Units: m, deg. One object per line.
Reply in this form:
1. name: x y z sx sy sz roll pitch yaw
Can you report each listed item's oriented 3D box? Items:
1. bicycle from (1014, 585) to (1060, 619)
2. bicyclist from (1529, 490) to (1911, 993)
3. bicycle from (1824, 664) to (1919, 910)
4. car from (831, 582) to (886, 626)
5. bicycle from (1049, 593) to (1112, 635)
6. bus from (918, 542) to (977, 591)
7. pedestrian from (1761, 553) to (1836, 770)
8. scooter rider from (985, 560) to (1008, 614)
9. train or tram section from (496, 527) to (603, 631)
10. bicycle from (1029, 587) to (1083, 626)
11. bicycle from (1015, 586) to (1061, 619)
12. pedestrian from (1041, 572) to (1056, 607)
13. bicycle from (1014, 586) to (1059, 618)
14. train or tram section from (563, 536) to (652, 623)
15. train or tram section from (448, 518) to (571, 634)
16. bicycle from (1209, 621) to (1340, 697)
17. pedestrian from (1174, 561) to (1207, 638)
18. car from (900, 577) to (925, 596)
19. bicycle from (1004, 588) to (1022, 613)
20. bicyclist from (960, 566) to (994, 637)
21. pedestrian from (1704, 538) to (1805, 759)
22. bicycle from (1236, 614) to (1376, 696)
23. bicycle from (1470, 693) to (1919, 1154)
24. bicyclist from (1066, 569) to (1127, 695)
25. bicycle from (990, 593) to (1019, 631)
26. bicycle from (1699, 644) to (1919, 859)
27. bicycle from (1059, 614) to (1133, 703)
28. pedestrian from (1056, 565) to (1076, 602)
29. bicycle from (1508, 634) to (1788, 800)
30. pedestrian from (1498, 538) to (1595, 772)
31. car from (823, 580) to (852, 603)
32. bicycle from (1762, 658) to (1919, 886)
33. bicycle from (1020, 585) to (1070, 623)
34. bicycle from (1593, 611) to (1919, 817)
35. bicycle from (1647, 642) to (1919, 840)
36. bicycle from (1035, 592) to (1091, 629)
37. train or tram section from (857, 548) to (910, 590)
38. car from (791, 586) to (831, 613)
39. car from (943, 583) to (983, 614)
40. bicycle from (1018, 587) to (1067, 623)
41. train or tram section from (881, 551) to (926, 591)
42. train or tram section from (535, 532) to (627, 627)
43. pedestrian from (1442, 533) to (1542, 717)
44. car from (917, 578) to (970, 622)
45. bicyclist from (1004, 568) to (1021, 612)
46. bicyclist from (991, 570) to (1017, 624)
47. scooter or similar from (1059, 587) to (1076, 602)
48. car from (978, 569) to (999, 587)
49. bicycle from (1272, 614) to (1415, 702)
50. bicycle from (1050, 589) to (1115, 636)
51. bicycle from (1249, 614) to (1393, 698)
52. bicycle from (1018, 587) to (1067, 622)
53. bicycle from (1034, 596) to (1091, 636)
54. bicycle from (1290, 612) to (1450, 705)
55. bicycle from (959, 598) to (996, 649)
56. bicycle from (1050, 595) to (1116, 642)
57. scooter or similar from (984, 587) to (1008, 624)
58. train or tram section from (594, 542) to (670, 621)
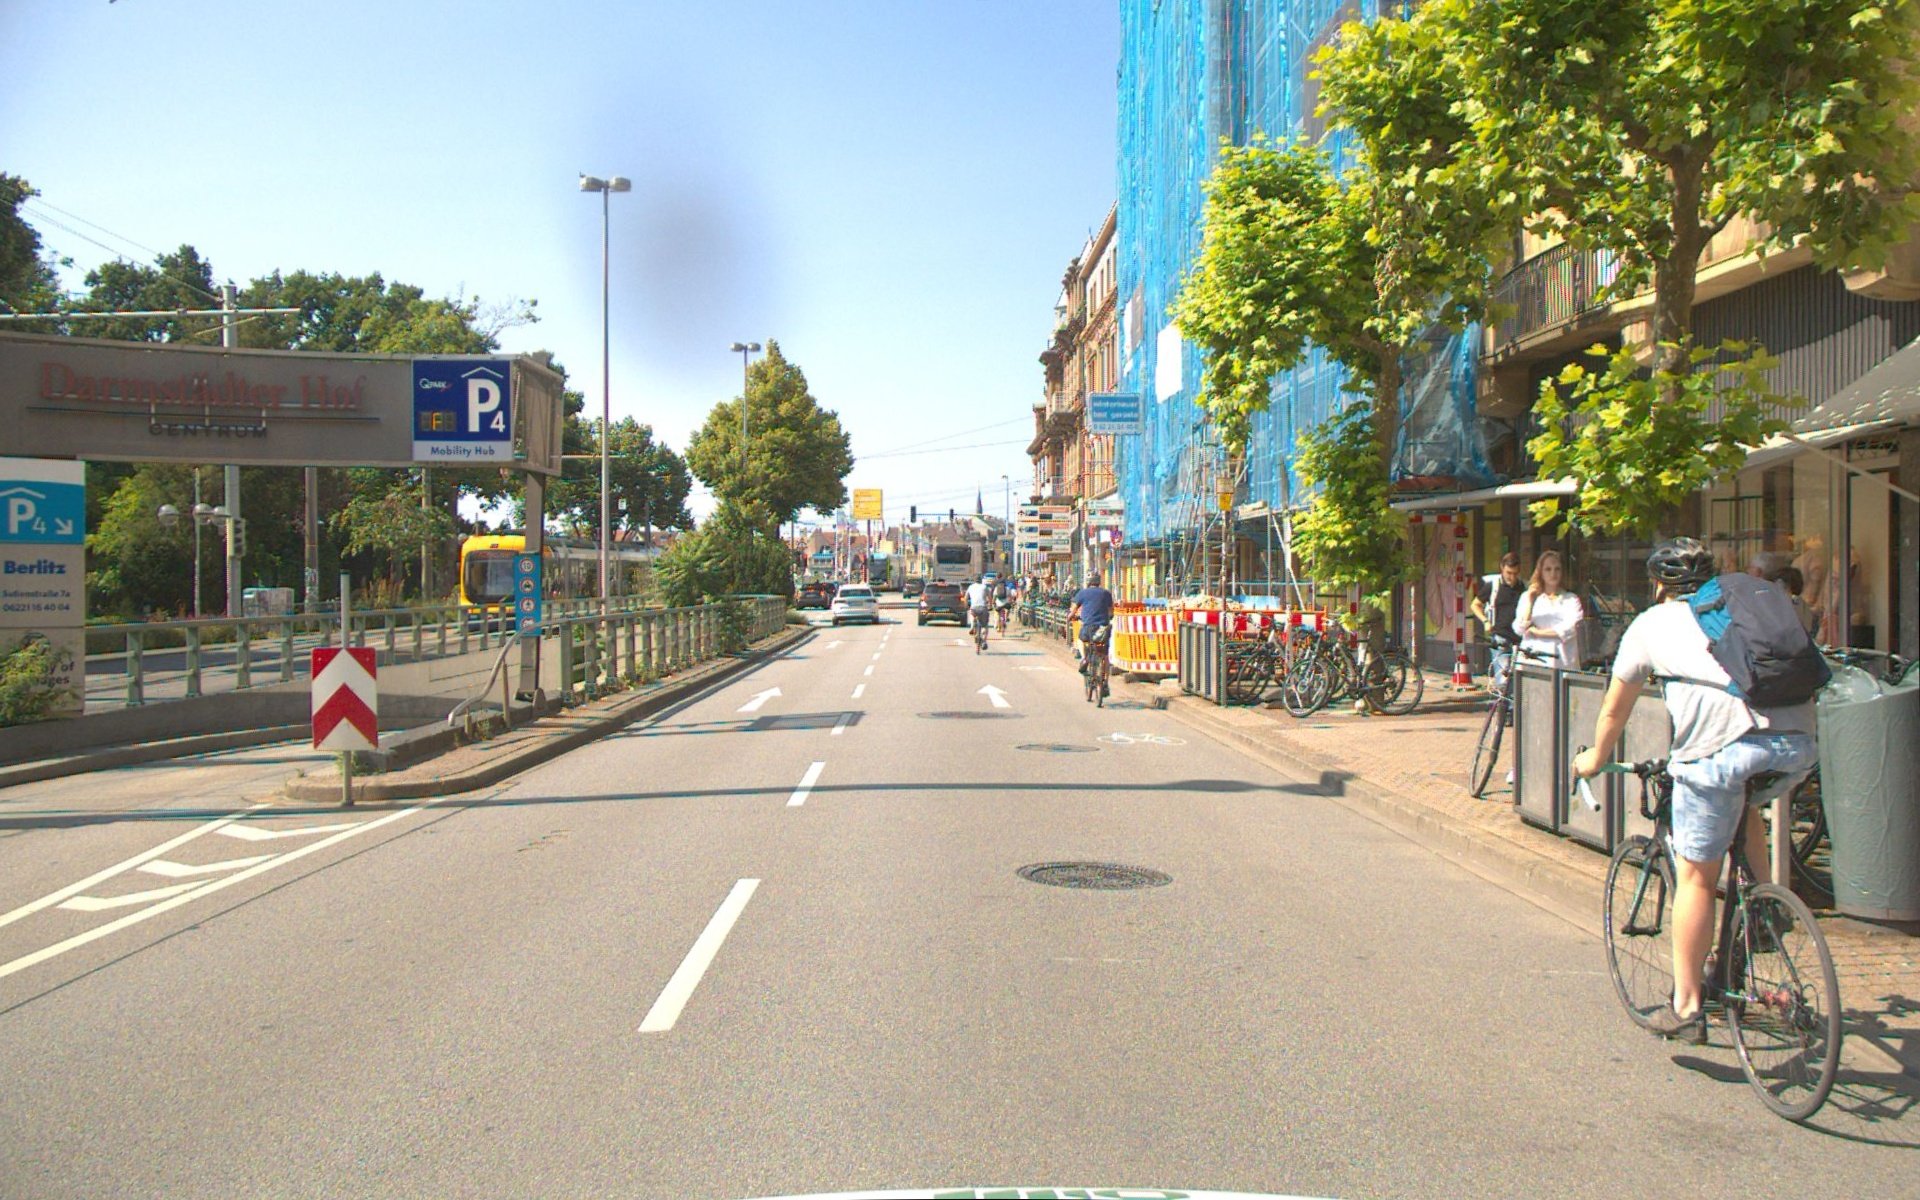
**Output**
1. bicycle: 2.915 0.064 62.337 1.659 1.199 0.608 -2 1 -1
2. bicyclist: 2.476 0.425 5.527 0.674 1.488 1.142 2 0 -3
3. bicycle: 4.864 0.810 7.448 1.718 1.036 0.482 -1 0 -4
4. car: -3.797 0.142 62.289 1.821 1.533 4.000 2 0 0
5. bicycle: 3.299 0.378 45.298 1.659 1.116 0.608 1 0 -1
6. bus: -0.856 -2.022 102.372 2.911 2.825 8.633 2 0 -5
7. pedestrian: 6.758 0.491 13.340 0.372 1.712 0.477 -1 0 7
8. scooter rider: 1.208 -0.434 54.696 0.674 1.759 0.778 2 0 -2
9. train or tram section: -15.367 -0.771 62.355 2.561 3.643 6.101 2 0 -2
10. bicycle: 3.077 0.213 53.119 1.659 1.199 0.608 1 0 -1
11. bicycle: 2.881 0.097 61.085 1.659 1.199 0.469 1 0 -2
12. pedestrian: 4.225 -0.492 79.195 0.641 1.649 0.815 -1 1 -3
13. bicycle: 2.919 0.059 62.969 1.659 1.199 0.608 0 1 -1
14. train or tram section: -15.716 -0.875 74.224 2.561 3.643 6.896 2 0 -2
15. train or tram section: -15.207 -0.793 56.271 2.561 3.643 6.101 2 0 -2
16. bicycle: 4.346 0.815 22.927 1.718 1.036 0.482 0 0 -4
17. pedestrian: 5.496 -0.009 39.390 0.626 1.807 0.649 2 0 -2
18. car: -3.391 -0.944 118.207 1.421 1.323 3.343 2 0 4
19. bicycle: 2.453 0.007 77.006 0.719 1.112 1.897 2 0 -2
20. bicyclist: 0.396 0.035 38.521 0.674 1.604 1.049 2 0 -3
21. pedestrian: 6.337 0.375 13.189 0.531 1.712 0.493 -1 -1 -37
22. bicycle: 4.479 0.711 21.441 1.718 1.036 0.482 0 0 -4
23. bicycle: 2.462 0.943 5.559 0.719 1.112 2.129 2 0 -3
24. bicyclist: 1.834 0.420 22.327 0.674 1.644 0.918 2 0 -3
25. bicycle: 1.350 0.365 50.355 0.719 1.112 1.897 2 0 -2
26. bicycle: 4.805 0.757 8.551 1.718 1.036 0.586 0 0 -4
27. bicycle: 1.815 0.763 22.366 0.719 1.112 1.910 2 0 -3
28. pedestrian: 4.983 -0.768 77.626 0.740 1.684 0.837 -3 0 -2
29. bicycle: 4.676 0.770 11.328 1.716 1.036 0.657 0 0 21
30. pedestrian: 4.452 0.408 12.545 0.643 1.712 0.653 0 -1 23
31. car: -7.296 -0.513 98.541 1.422 1.323 4.000 2 0 0
32. bicycle: 4.825 0.812 7.964 1.718 1.036 0.482 0 0 -4
33. bicycle: 2.896 0.148 56.701 1.659 1.262 0.608 1 0 -1
34. bicycle: 4.802 0.675 10.024 1.718 1.202 0.579 0 0 -4
35. bicycle: 4.764 0.762 9.147 1.718 1.036 0.557 0 0 -4
36. bicycle: 3.148 0.321 50.830 1.659 1.106 0.608 1 0 -1
37. train or tram section: -7.043 -2.816 153.737 2.762 3.643 10.041 2 0 10
38. car: -7.986 -0.025 89.095 1.778 1.355 4.000 2 0 0
39. car: 0.148 -0.080 85.203 1.953 1.518 4.000 2 0 -1
40. bicycle: 2.869 0.162 57.364 1.659 1.199 0.497 1 0 -1
41. train or tram section: -5.500 -2.792 162.728 2.762 3.643 8.233 2 0 10
42. train or tram section: -15.540 -0.826 68.090 2.561 3.643 5.355 2 0 -2
43. pedestrian: 5.607 0.261 17.467 0.797 1.881 0.892 -1 0 6
44. car: -0.590 -0.019 60.046 1.835 1.518 4.000 -1 1 0
45. bicyclist: 2.455 -0.463 77.057 0.674 1.996 0.778 2 0 -2
46. bicyclist: 1.342 -0.094 50.326 0.674 1.604 1.049 2 0 -3
47. scooter or similar: 5.011 -0.260 77.089 0.677 0.661 0.565 -4 0 -2
48. car: 3.092 -2.418 180.360 1.951 1.910 4.003 -1 0 5
49. bicycle: 4.659 0.694 20.072 1.727 1.036 0.480 0 0 -21
50. bicycle: 3.286 0.331 44.459 1.659 1.199 0.608 1 0 -1
51. bicycle: 4.552 0.708 20.886 1.718 1.036 0.482 0 0 -4
52. bicycle: 2.883 0.152 57.959 1.659 1.199 0.490 1 0 -1
53. bicycle: 3.236 0.506 52.137 1.735 1.199 0.608 1 0 -1
54. bicycle: 4.688 0.665 18.936 1.718 1.036 0.482 0 0 -4
55. bicycle: 0.387 0.536 38.519 0.719 1.112 1.897 2 0 -3
56. bicycle: 3.251 0.485 43.777 1.659 1.199 0.608 1 0 -1
57. scooter or similar: 1.173 0.163 54.657 0.674 1.188 1.463 2 0 -2
58. train or tram section: -15.916 -0.876 80.685 2.561 3.643 6.015 2 0 -2
